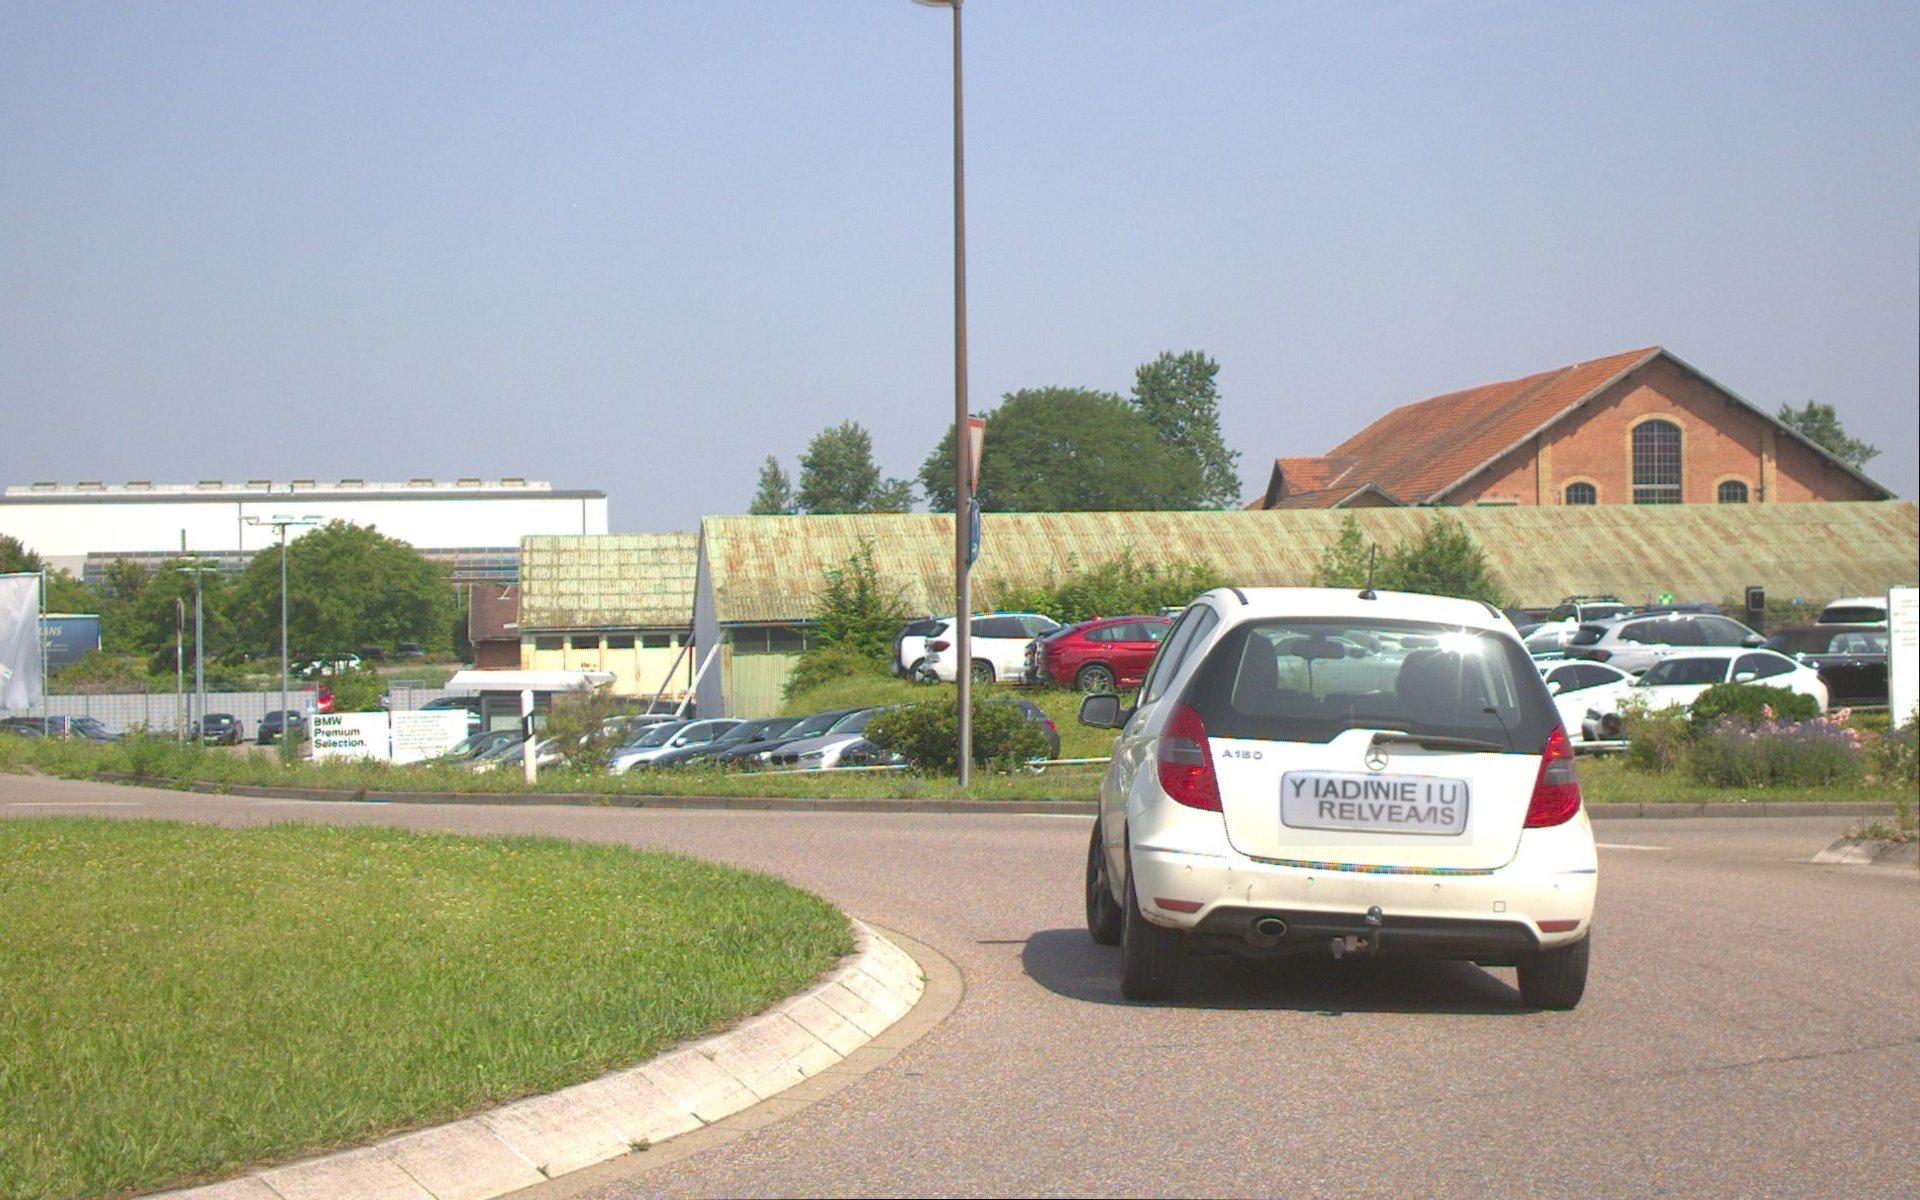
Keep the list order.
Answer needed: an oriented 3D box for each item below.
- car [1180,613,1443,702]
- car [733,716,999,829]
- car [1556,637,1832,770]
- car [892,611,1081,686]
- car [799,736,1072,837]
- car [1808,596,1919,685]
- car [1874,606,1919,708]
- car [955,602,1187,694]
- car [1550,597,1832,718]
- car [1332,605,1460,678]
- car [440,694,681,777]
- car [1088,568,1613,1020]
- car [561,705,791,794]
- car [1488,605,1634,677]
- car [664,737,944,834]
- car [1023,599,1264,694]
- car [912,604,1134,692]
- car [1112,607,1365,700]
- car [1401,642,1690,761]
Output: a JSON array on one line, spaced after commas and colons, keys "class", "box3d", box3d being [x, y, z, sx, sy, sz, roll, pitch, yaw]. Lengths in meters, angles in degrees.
[{"class": "car", "box3d": [6.491, 1.053, 63.701, 4.452, 1.495, 1.950, -1, 0, -9]}, {"class": "car", "box3d": [-1.690, 3.104, 61.971, 4.248, 1.742, 2.000, -2, -3, -28]}, {"class": "car", "box3d": [10.642, 1.469, 49.604, 1.767, 1.565, 4.655, -2, 1, 42]}, {"class": "car", "box3d": [0.563, 1.067, 75.599, 3.874, 1.527, 1.768, -1, -1, -9]}, {"class": "car", "box3d": [-0.415, 3.214, 59.224, 4.248, 1.460, 1.873, -2, -3, -28]}, {"class": "car", "box3d": [17.391, 0.732, 64.653, 1.655, 1.581, 4.261, -2, 0, 30]}, {"class": "car", "box3d": [16.259, 0.724, 51.600, 4.411, 1.495, 1.950, -4, -1, -9]}, {"class": "car", "box3d": [2.265, 0.987, 70.806, 4.452, 1.741, 1.839, -1, -1, -9]}, {"class": "car", "box3d": [11.920, 0.925, 56.172, 3.995, 1.744, 1.950, -3, 0, -9]}, {"class": "car", "box3d": [10.089, 0.964, 79.821, 1.916, 1.591, 4.305, -1, -1, -7]}, {"class": "car", "box3d": [-8.315, 2.819, 71.680, 4.480, 1.634, 2.147, 0, -3, -32]}, {"class": "car", "box3d": [1.470, 0.677, 14.271, 1.781, 1.598, 3.893, 0, 1, 1]}, {"class": "car", "box3d": [-5.604, 2.941, 67.825, 3.987, 1.547, 2.000, -1, -3, -32]}, {"class": "car", "box3d": [14.039, 0.957, 80.574, 2.187, 1.591, 4.305, -1, -1, -7]}, {"class": "car", "box3d": [-2.916, 3.474, 64.477, 4.766, 1.503, 2.000, -2, -3, -28]}, {"class": "car", "box3d": [3.639, 0.919, 68.616, 4.452, 1.741, 1.950, -1, -1, -9]}, {"class": "car", "box3d": [1.324, 1.022, 73.339, 4.452, 1.741, 1.839, -1, -1, -9]}, {"class": "car", "box3d": [5.292, 1.022, 65.658, 4.452, 1.629, 1.950, -1, -1, -9]}, {"class": "car", "box3d": [8.811, 1.504, 51.521, 4.565, 1.565, 1.767, -2, -1, -43]}]
